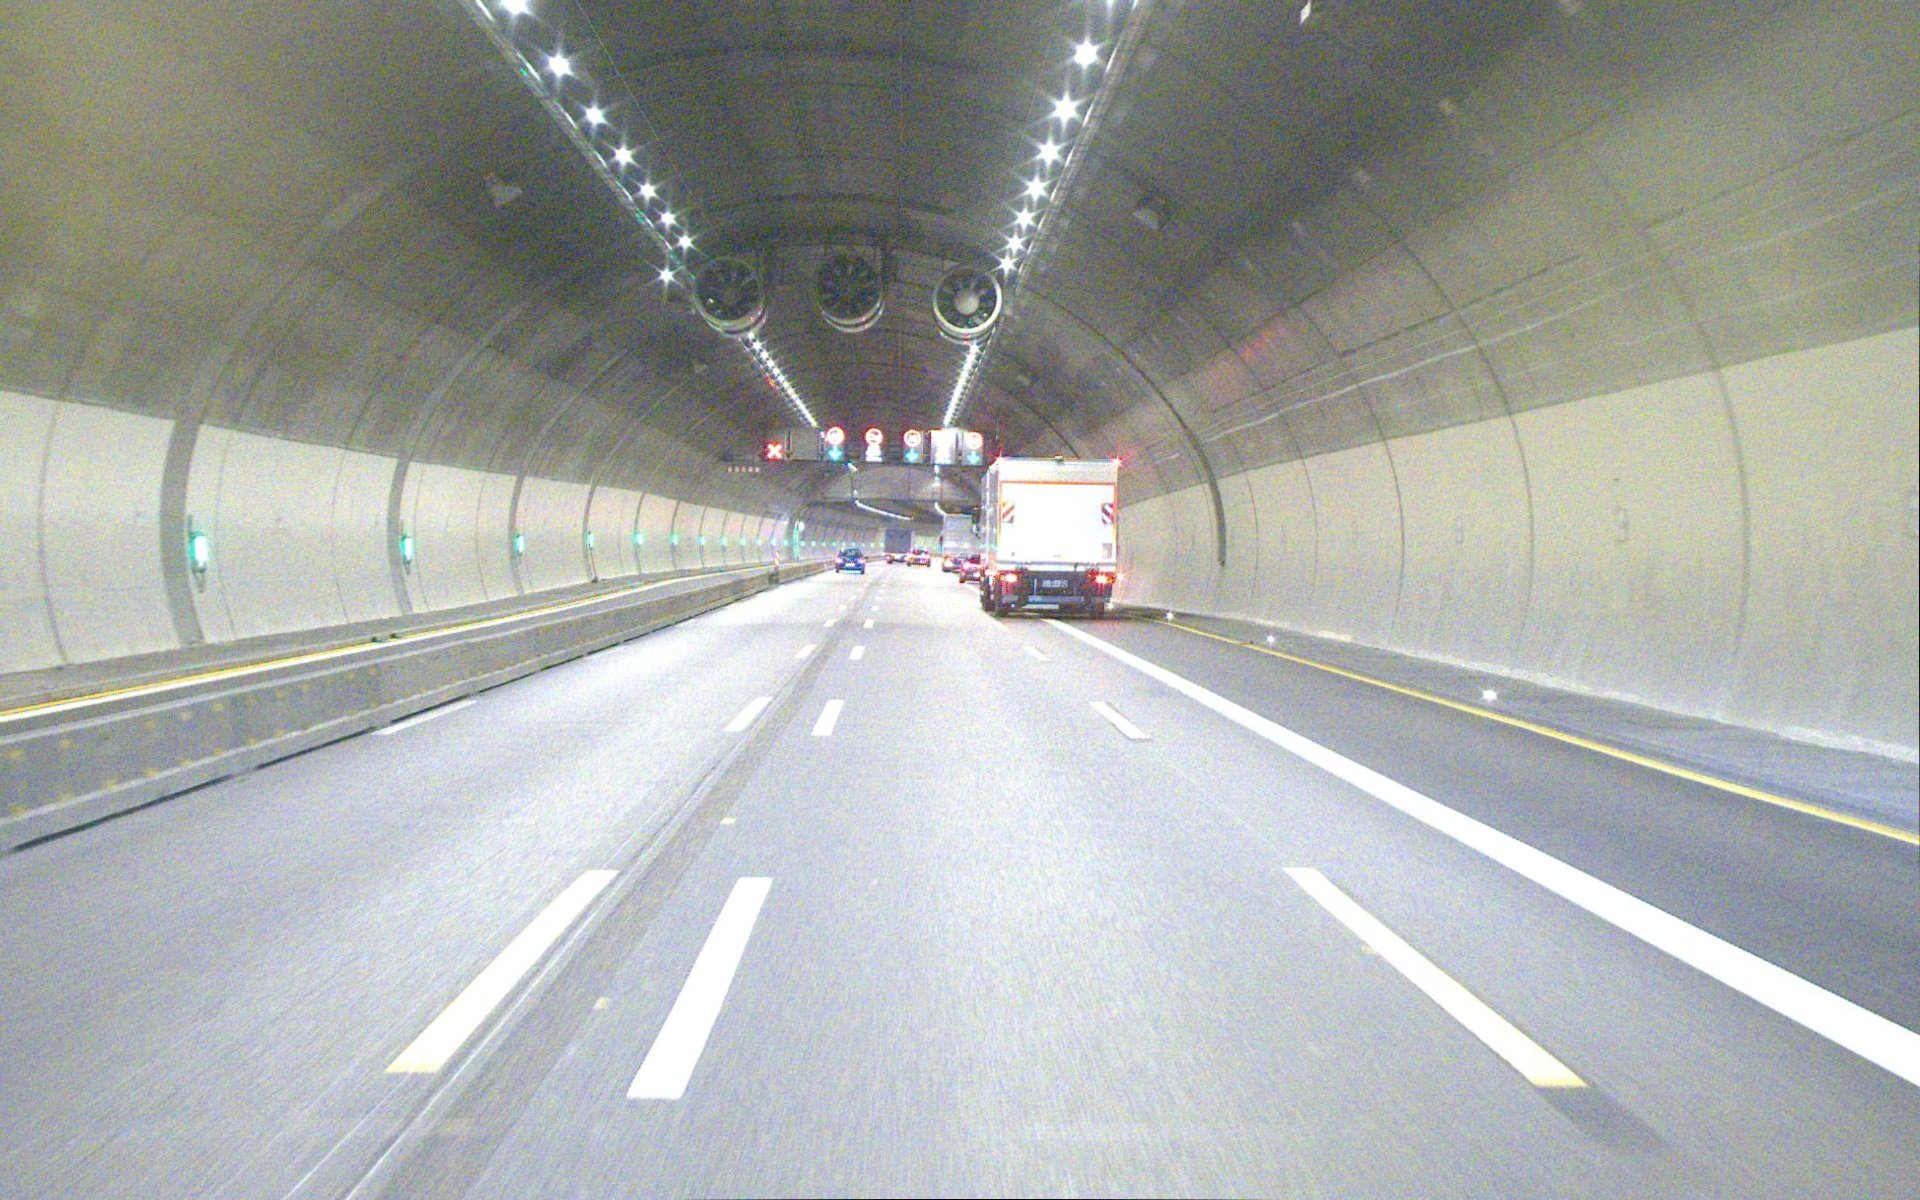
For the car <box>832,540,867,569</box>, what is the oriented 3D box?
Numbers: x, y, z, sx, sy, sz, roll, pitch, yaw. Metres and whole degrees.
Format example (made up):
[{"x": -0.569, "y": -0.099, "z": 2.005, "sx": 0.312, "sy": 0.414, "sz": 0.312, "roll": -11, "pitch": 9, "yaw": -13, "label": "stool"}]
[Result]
[{"x": -5.981, "y": -2.495, "z": 186.379, "sx": 1.758, "sy": 1.456, "sz": 4.119, "roll": 2, "pitch": 1, "yaw": 0, "label": "car"}]

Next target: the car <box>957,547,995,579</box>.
[{"x": 0.781, "y": -1.795, "z": 166.249, "sx": 1.739, "sy": 1.456, "sz": 3.960, "roll": 2, "pitch": 1, "yaw": 1, "label": "car"}]

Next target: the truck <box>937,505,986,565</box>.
[{"x": 0.146, "y": -4.493, "z": 239.239, "sx": 3.066, "sy": 3.904, "sz": 10.367, "roll": 2, "pitch": 0, "yaw": 1, "label": "truck"}]

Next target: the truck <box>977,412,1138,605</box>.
[{"x": 2.066, "y": -1.927, "z": 77.040, "sx": 3.092, "sy": 3.904, "sz": 10.368, "roll": 2, "pitch": 0, "yaw": 0, "label": "truck"}]
